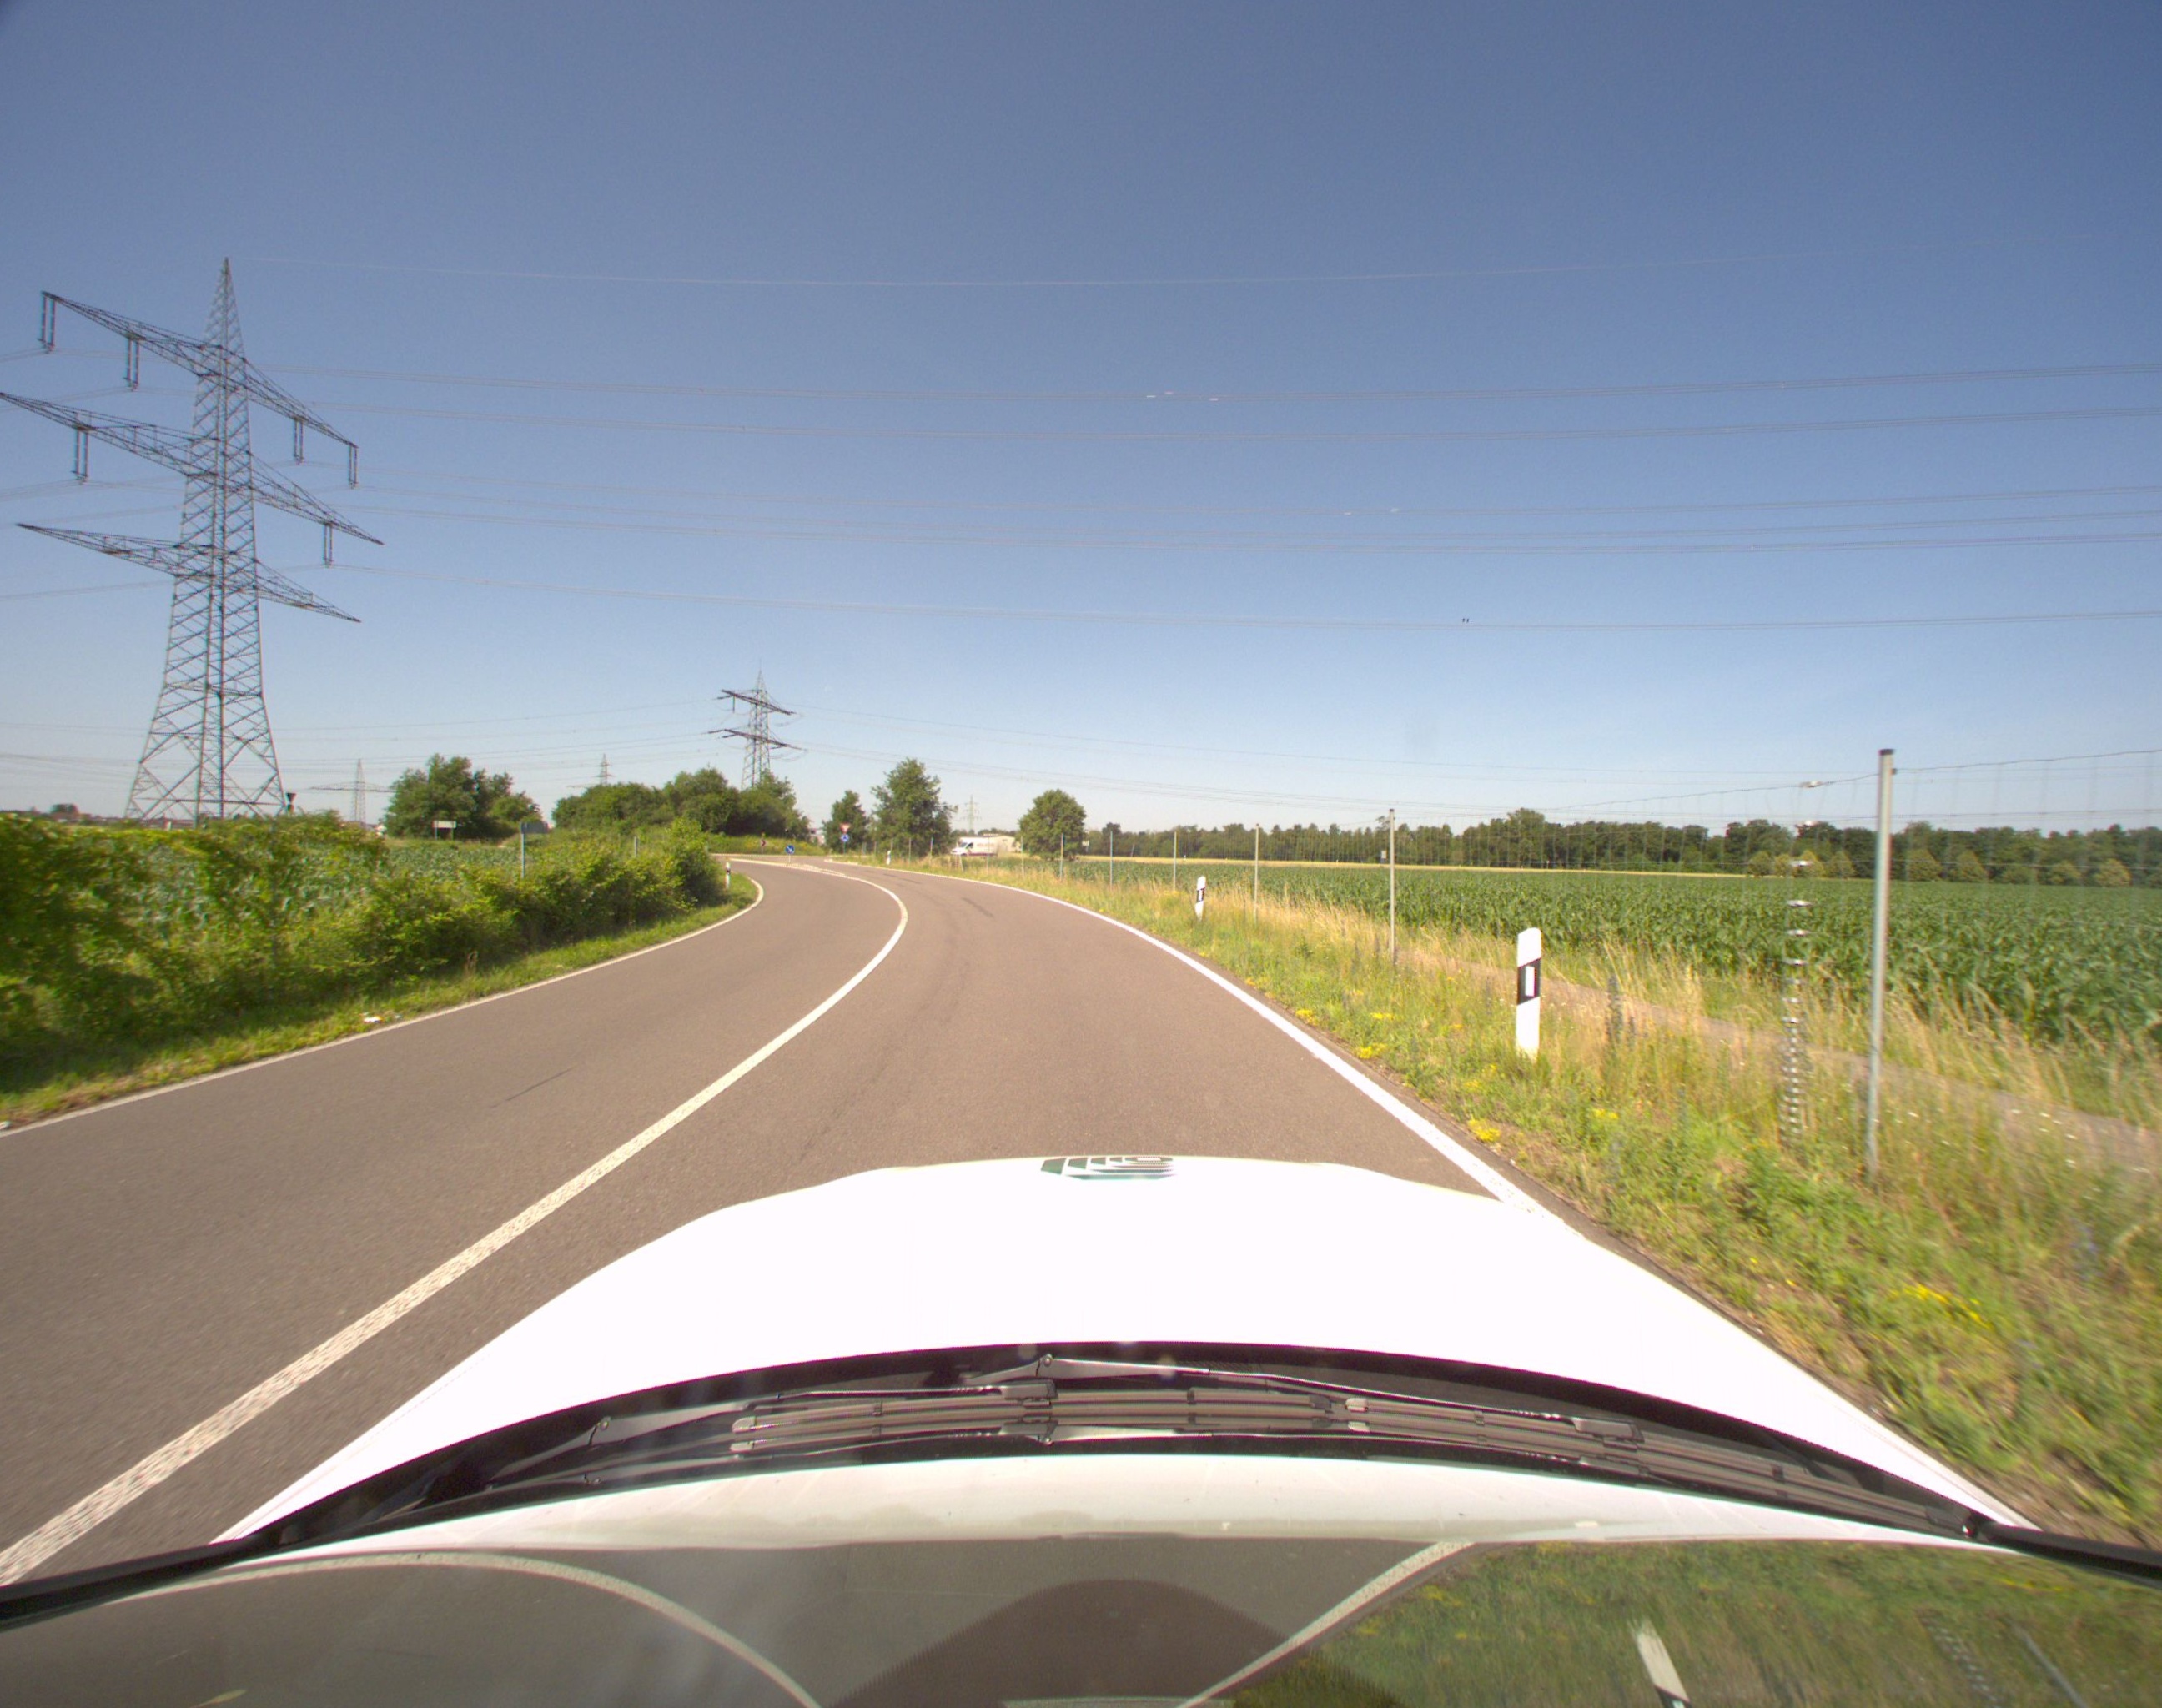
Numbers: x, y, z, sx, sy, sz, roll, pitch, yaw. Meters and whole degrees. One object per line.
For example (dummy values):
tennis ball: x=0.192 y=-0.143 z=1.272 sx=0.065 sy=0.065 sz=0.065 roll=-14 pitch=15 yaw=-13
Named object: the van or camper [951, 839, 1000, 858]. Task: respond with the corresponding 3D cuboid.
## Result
van or camper: x=-13.296 y=-0.693 z=102.540 sx=5.791 sy=2.266 sz=1.979 roll=1 pitch=0 yaw=-34
